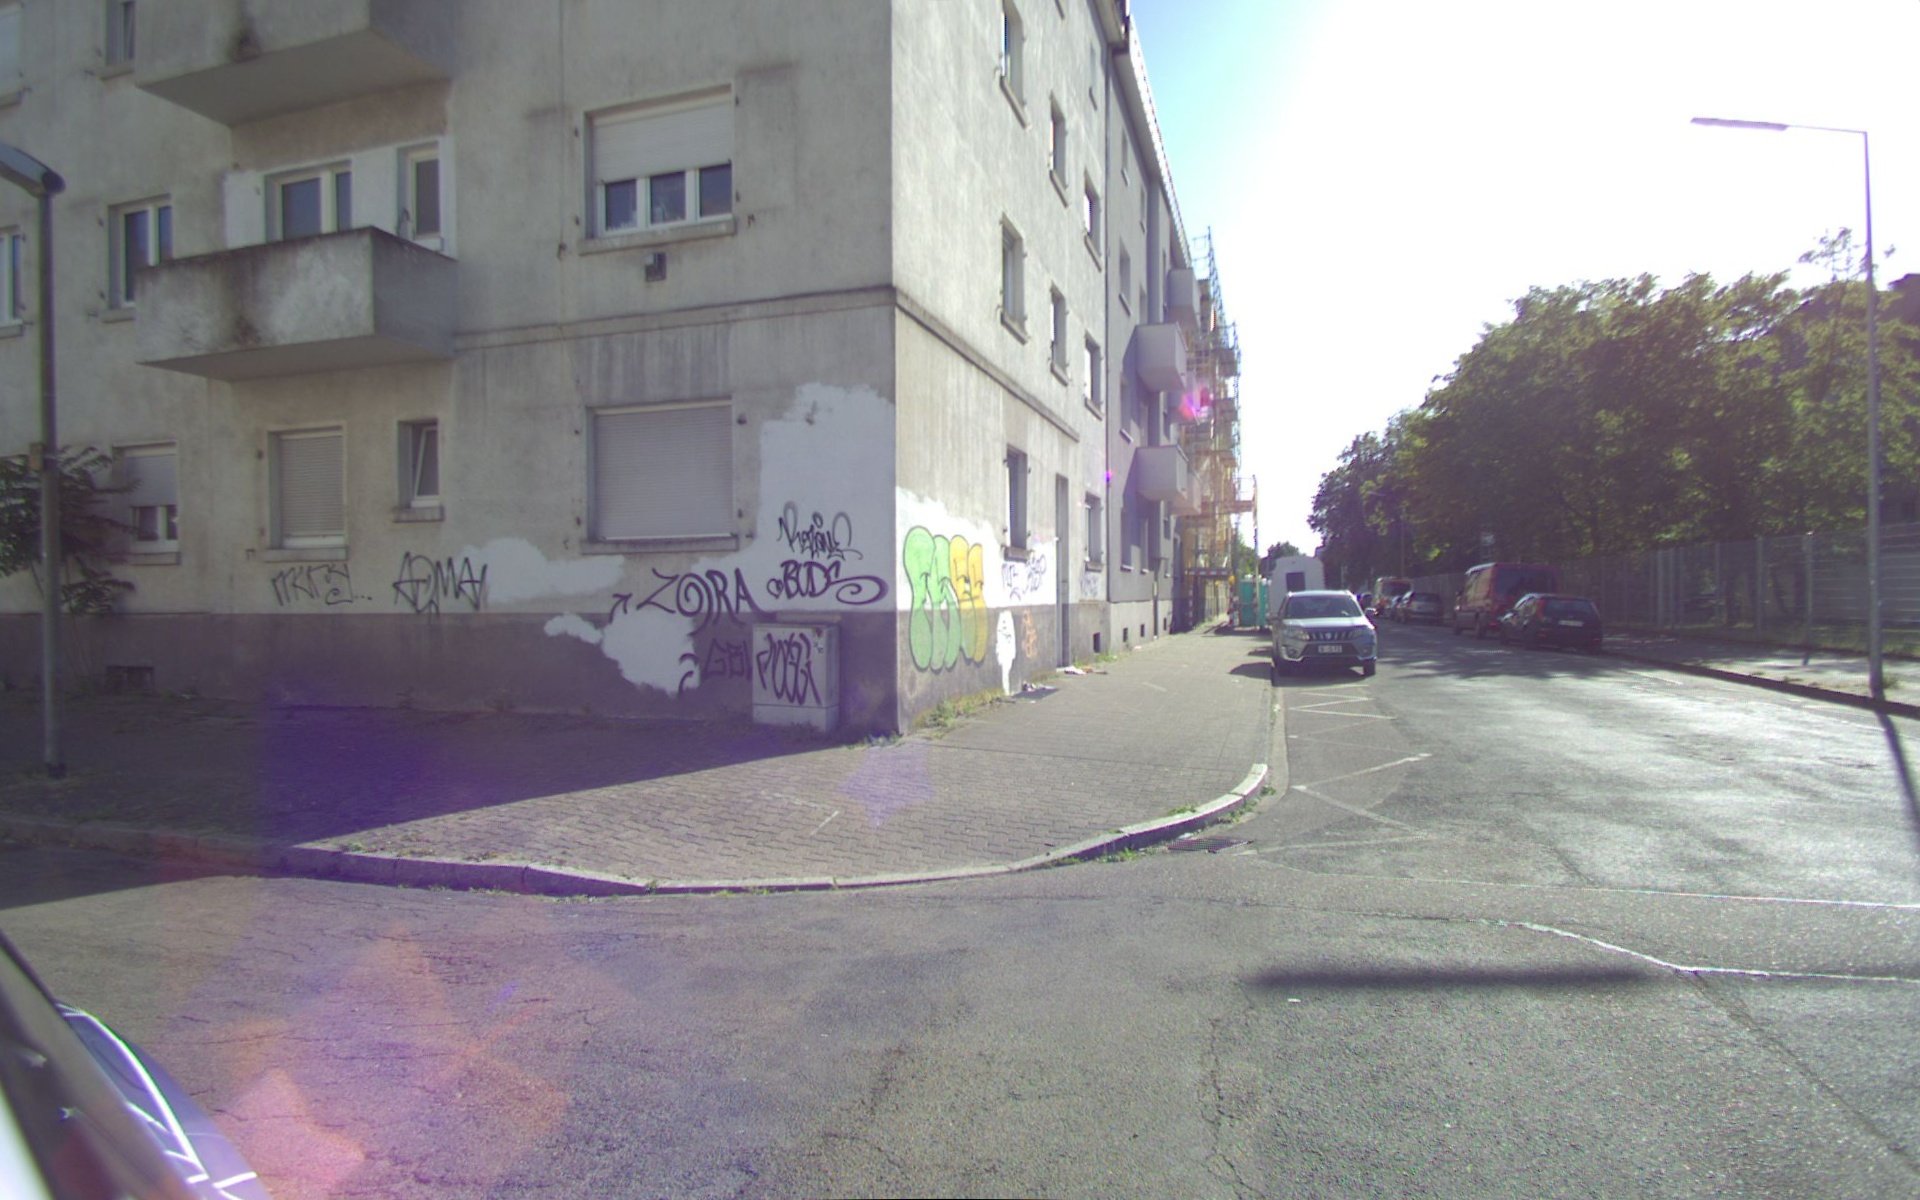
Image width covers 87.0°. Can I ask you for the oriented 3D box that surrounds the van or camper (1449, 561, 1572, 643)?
[{"bbox_3d":[17.008,0.045,31.582,2.193,2.298,5.283,-1,0,16],"label":"van or camper"}]

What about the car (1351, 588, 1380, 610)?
[{"bbox_3d":[34.744,-0.104,86.772,1.983,1.797,3.978,0,0,17],"label":"car"}]

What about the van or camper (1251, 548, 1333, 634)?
[{"bbox_3d":[13.498,-0.347,41.385,2.935,3.204,6.138,1,0,17],"label":"van or camper"}]

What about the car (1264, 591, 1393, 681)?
[{"bbox_3d":[7.092,0.633,19.858,2.052,1.564,3.979,-1,0,16],"label":"car"}]

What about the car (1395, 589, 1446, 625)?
[{"bbox_3d":[22.452,0.315,49.435,1.638,1.696,3.979,-1,0,16],"label":"car"}]

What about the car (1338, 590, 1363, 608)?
[{"bbox_3d":[38.348,-0.101,99.357,1.983,1.762,3.978,0,0,17],"label":"car"}]

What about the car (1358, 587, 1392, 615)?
[{"bbox_3d":[30.985,0.045,75.632,1.983,2.029,3.978,0,0,17],"label":"car"}]

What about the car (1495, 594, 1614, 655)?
[{"bbox_3d":[15.161,0.580,26.014,1.638,1.427,3.979,-1,0,16],"label":"car"}]

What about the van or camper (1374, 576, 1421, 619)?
[{"bbox_3d":[26.530,-0.173,61.510,2.108,2.517,3.979,-1,0,16],"label":"van or camper"}]
